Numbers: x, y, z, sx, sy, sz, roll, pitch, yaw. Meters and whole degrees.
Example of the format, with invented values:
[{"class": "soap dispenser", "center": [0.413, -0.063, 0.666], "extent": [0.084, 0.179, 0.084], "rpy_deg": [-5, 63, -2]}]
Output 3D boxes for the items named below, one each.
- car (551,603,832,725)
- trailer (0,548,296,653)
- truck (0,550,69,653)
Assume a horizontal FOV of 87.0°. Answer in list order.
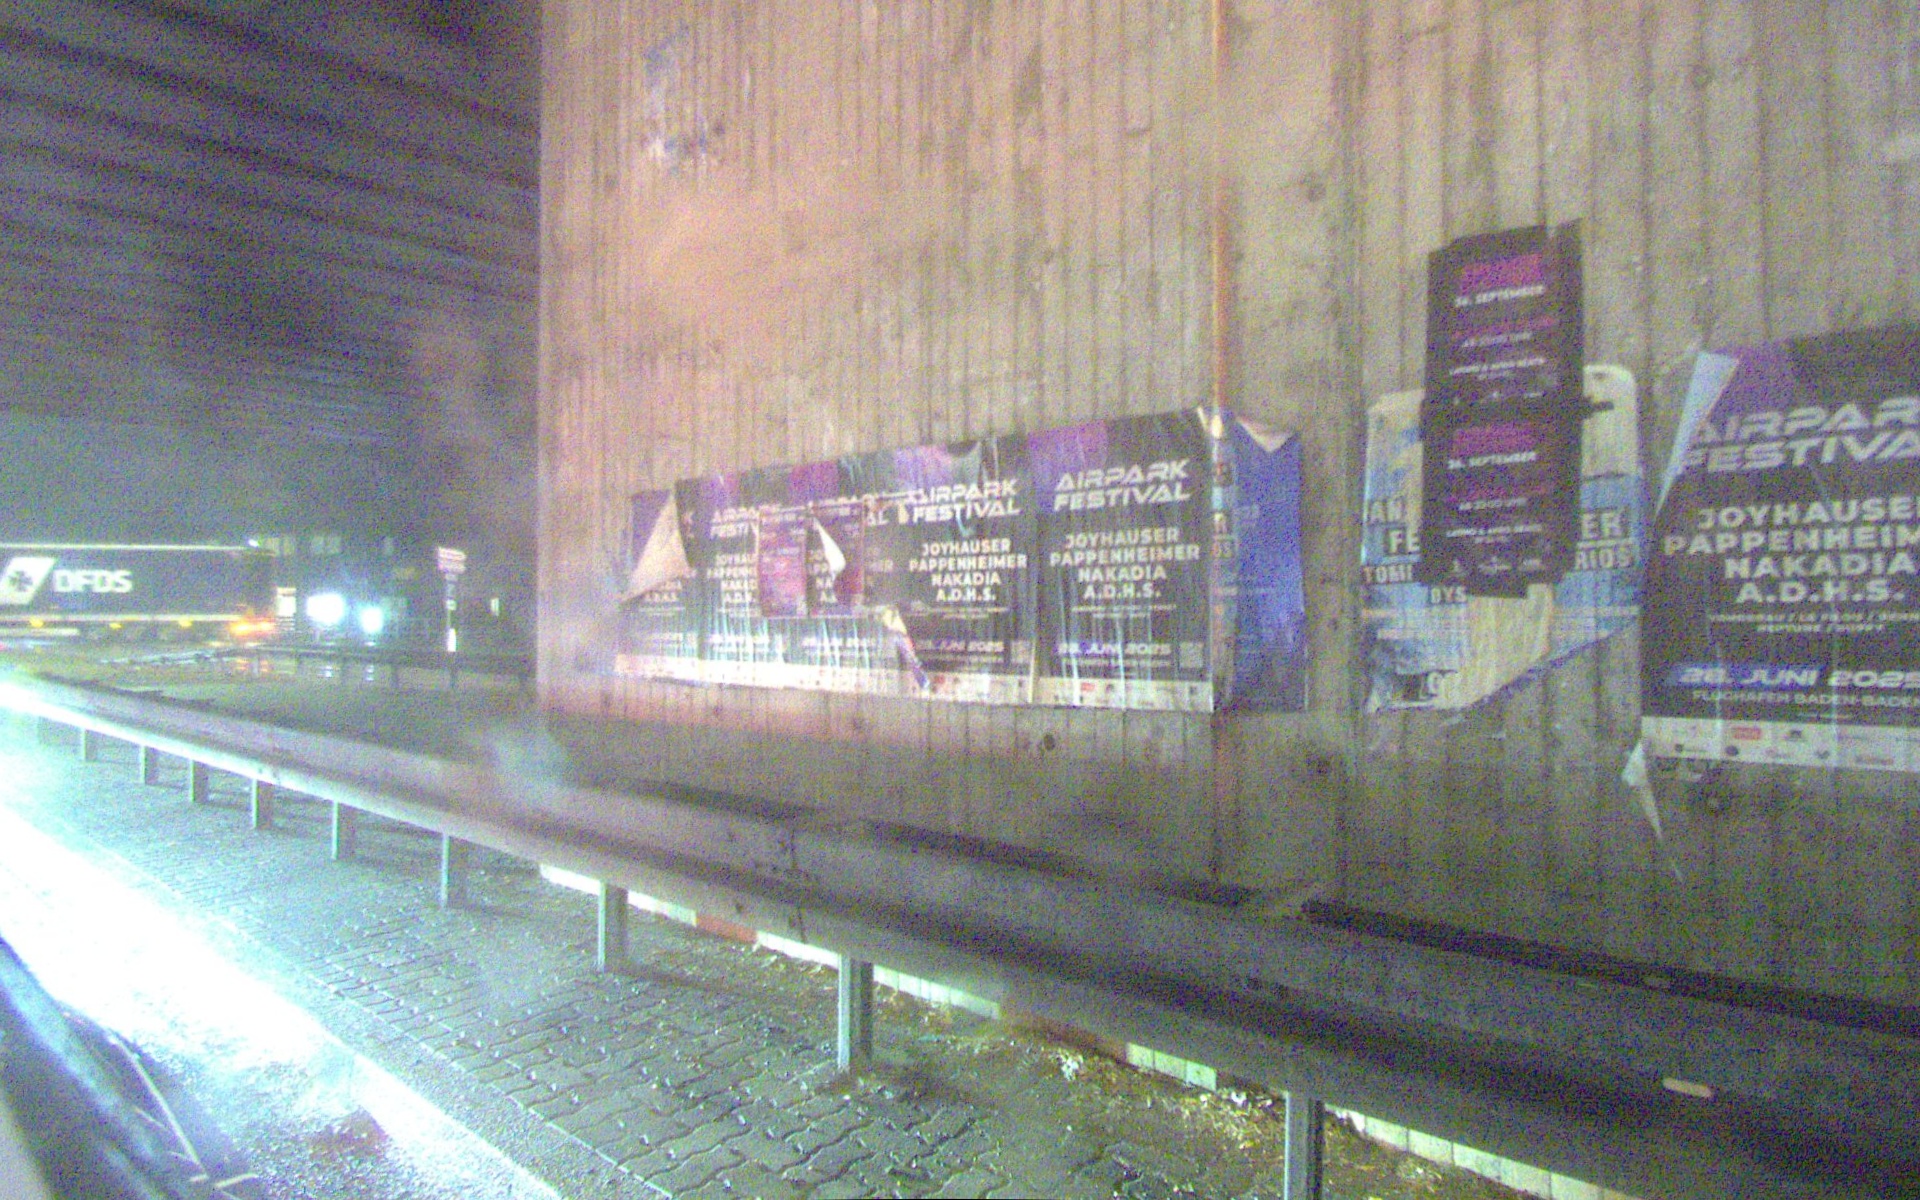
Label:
[{"class": "car", "center": [-4.586, 0.955, 16.919], "extent": [4.910, 1.754, 1.947], "rpy_deg": [-1, 0, 37]}, {"class": "trailer", "center": [-36.882, 0.011, 43.288], "extent": [13.691, 4.208, 3.979], "rpy_deg": [-1, 0, -12]}, {"class": "truck", "center": [-42.148, 0.111, 42.352], "extent": [6.291, 4.208, 3.967], "rpy_deg": [-1, 0, 2]}]
